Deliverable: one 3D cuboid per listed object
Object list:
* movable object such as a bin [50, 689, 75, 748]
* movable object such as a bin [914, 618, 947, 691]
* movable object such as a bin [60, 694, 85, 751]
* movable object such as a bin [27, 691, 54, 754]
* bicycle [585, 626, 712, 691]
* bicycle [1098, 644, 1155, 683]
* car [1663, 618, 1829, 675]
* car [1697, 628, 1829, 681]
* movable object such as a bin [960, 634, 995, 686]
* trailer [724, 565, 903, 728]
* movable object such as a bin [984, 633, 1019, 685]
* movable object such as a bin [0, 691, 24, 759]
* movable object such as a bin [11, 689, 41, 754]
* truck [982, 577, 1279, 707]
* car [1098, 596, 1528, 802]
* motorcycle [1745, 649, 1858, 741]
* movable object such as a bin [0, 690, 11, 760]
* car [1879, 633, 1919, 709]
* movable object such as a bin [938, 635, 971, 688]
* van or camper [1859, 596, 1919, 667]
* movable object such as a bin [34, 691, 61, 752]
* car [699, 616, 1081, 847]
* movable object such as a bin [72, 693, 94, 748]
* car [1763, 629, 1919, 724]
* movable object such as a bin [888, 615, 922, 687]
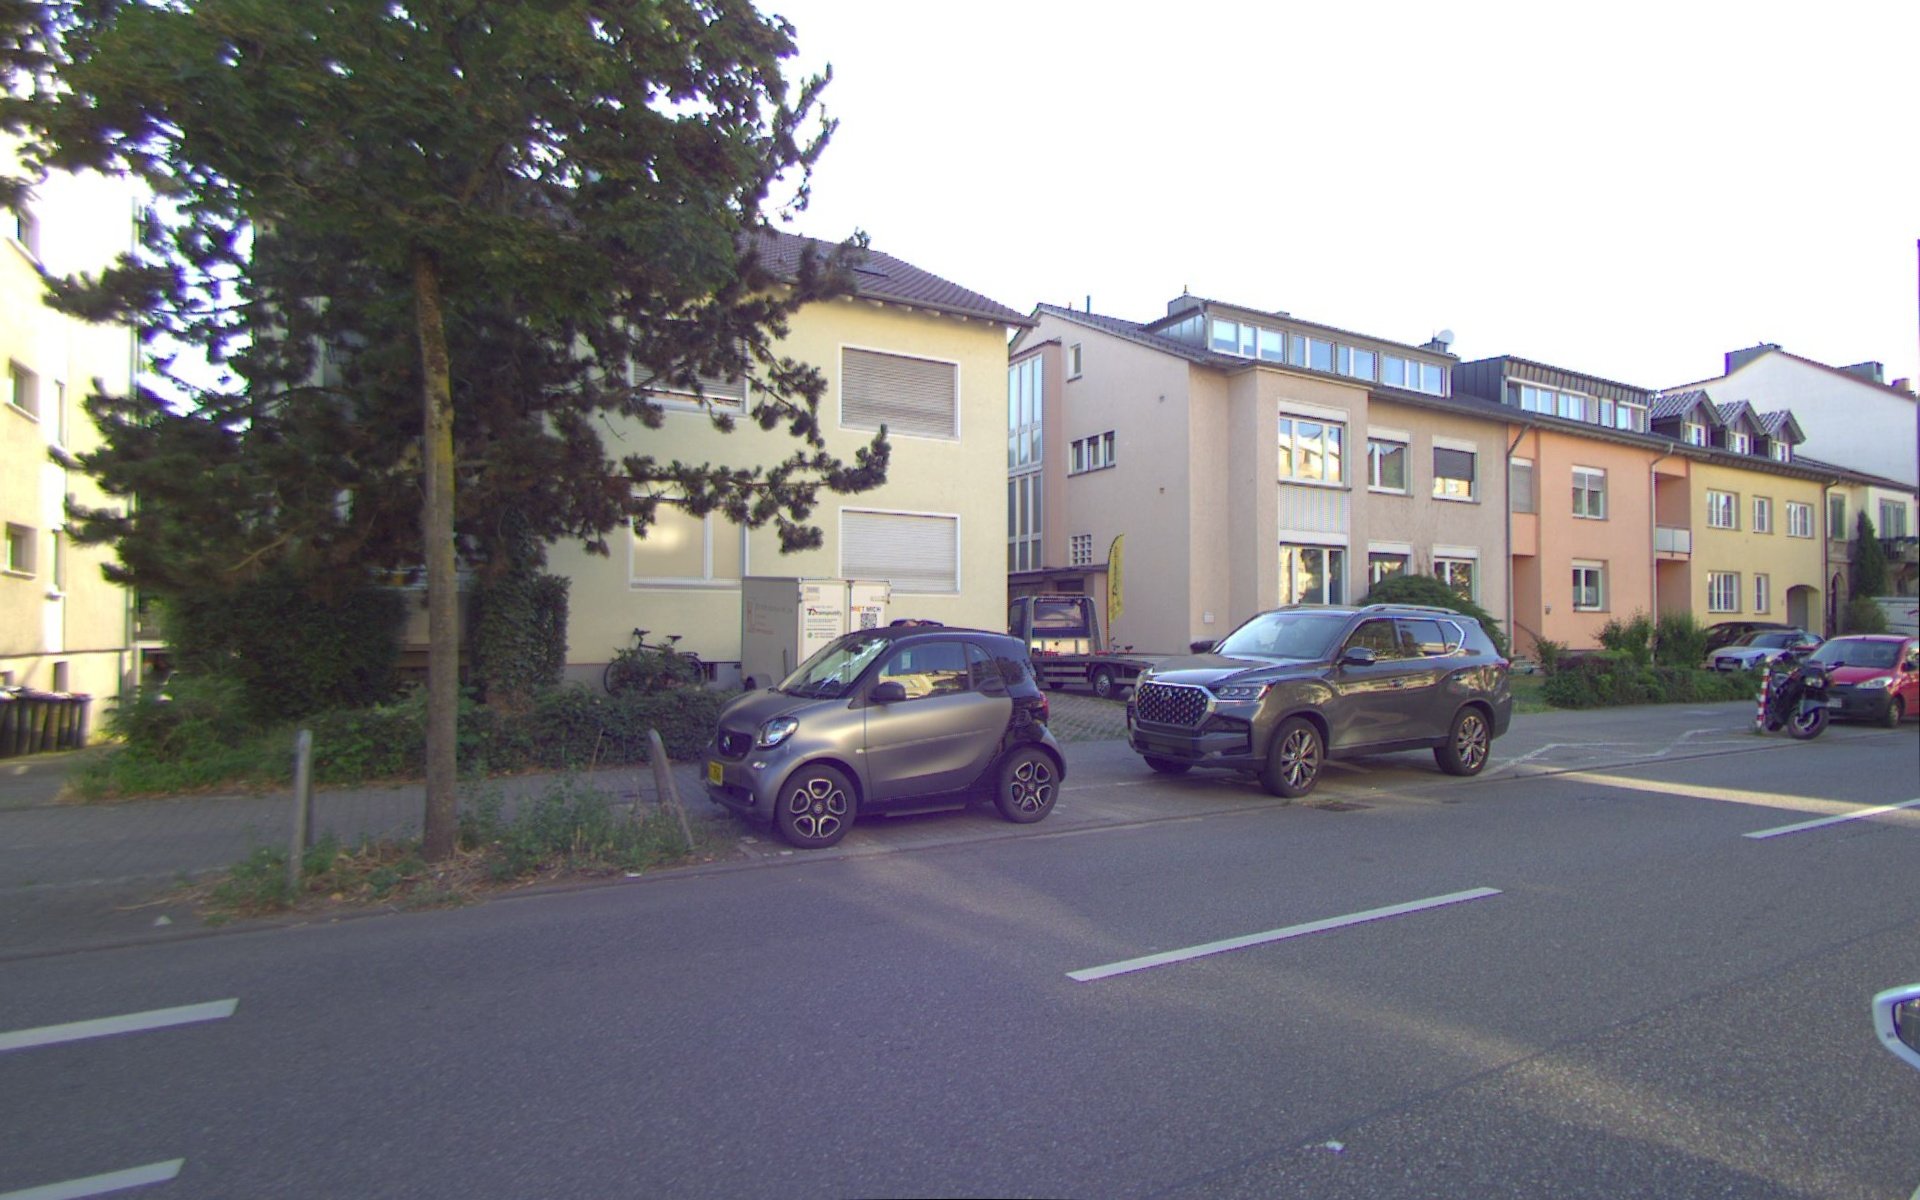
[{"bbox_3d":[-16.241,2.141,18.176,0.205,1.015,0.522,1,-2,-29],"label":"movable object such as a bin"},{"bbox_3d":[-0.588,1.061,19.781,0.480,1.420,0.478,1,-1,-29],"label":"movable object such as a bin"},{"bbox_3d":[-16.509,2.265,18.688,0.205,1.015,0.522,1,-2,-29],"label":"movable object such as a bin"},{"bbox_3d":[-15.581,2.071,17.021,0.205,1.015,0.522,1,-2,-29],"label":"movable object such as a bin"},{"bbox_3d":[-5.362,0.989,17.349,2.022,1.078,0.516,1,-1,-31],"label":"bicycle"},{"bbox_3d":[4.216,1.625,25.570,0.582,0.942,1.589,1,-5,-27],"label":"bicycle"},{"bbox_3d":[26.290,1.517,33.744,1.843,1.658,3.970,1,0,-28],"label":"car"},{"bbox_3d":[23.119,1.540,28.915,3.706,1.427,1.658,1,-2,-29],"label":"car"},{"bbox_3d":[0.355,1.210,20.347,0.531,1.044,0.478,1,-1,-29],"label":"movable object such as a bin"},{"bbox_3d":[-2.139,0.634,14.184,1.535,2.040,2.758,1,-2,-32],"label":"trailer"},{"bbox_3d":[0.860,1.213,20.682,0.543,1.044,0.478,1,-1,-29],"label":"movable object such as a bin"},{"bbox_3d":[-14.827,1.937,15.650,0.205,1.015,0.522,1,-2,-29],"label":"movable object such as a bin"},{"bbox_3d":[-15.249,1.980,16.404,0.205,1.015,0.522,1,-2,-29],"label":"movable object such as a bin"},{"bbox_3d":[3.169,0.813,20.756,2.249,2.214,6.864,1,-2,-29],"label":"truck"},{"bbox_3d":[3.903,0.935,10.846,4.673,1.803,1.877,1,-2,-32],"label":"car"},{"bbox_3d":[13.017,1.415,15.624,1.164,1.282,2.362,-1,-2,36],"label":"motorcycle"},{"bbox_3d":[-14.327,1.856,14.903,0.205,1.015,0.522,1,-2,-29],"label":"movable object such as a bin"},{"bbox_3d":[21.174,1.477,21.235,3.847,1.543,1.585,1,-2,-31],"label":"car"},{"bbox_3d":[-0.109,1.216,20.055,0.480,1.044,0.478,1,-1,-29],"label":"movable object such as a bin"},{"bbox_3d":[40.242,1.328,39.597,2.325,2.810,6.764,1,1,-30],"label":"van or camper"},{"bbox_3d":[-15.923,2.107,17.532,0.205,1.015,0.522,1,-2,-29],"label":"movable object such as a bin"},{"bbox_3d":[-0.565,0.937,8.231,2.719,1.576,1.565,1,-2,-32],"label":"car"},{"bbox_3d":[-16.873,2.317,19.329,0.205,1.015,0.522,1,-2,-29],"label":"movable object such as a bin"},{"bbox_3d":[16.078,1.306,17.874,3.392,1.543,1.587,1,-2,-28],"label":"car"},{"bbox_3d":[-1.072,0.986,19.514,0.480,1.376,0.478,1,-1,-29],"label":"movable object such as a bin"}]
